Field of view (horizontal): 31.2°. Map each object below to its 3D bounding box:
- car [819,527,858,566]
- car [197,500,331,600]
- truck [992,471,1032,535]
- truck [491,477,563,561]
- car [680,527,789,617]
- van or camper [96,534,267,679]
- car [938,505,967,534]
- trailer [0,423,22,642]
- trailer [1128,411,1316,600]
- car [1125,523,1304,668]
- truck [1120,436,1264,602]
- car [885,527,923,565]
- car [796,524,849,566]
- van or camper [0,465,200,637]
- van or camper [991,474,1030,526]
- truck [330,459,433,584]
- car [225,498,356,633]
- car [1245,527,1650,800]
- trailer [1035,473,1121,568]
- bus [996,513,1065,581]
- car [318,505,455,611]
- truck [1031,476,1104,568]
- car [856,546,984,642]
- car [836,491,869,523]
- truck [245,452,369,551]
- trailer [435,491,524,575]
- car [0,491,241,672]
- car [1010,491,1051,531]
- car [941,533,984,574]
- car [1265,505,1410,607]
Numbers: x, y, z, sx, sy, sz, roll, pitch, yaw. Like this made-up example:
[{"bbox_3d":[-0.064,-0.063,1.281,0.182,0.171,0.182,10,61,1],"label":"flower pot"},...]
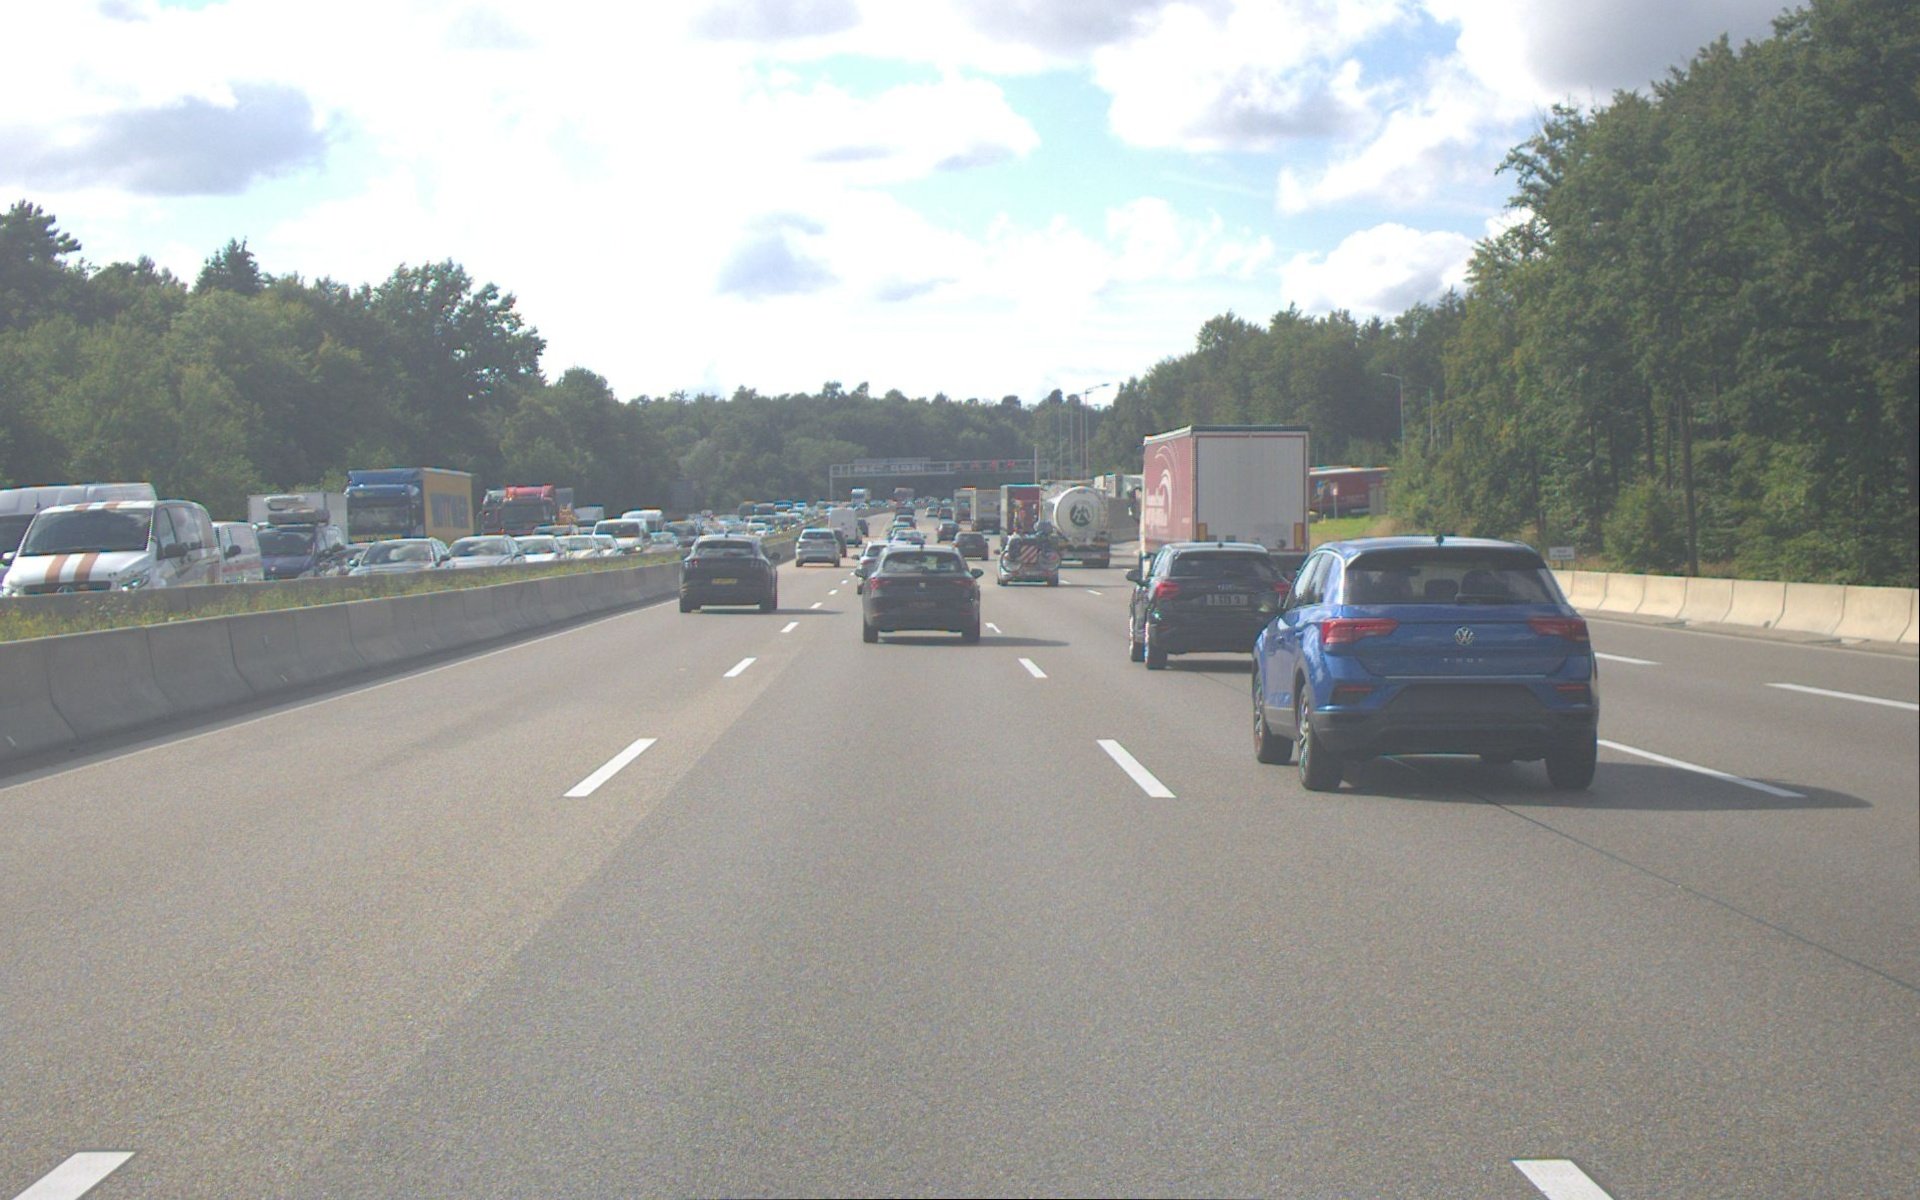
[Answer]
[{"bbox_3d":[-6.492,-2.872,184.163,1.993,2.007,4.000,1,1,-1],"label":"car"},{"bbox_3d":[-14.592,-1.024,72.336,1.993,2.007,4.657,1,0,-2],"label":"car"},{"bbox_3d":[3.154,-5.896,210.900,2.358,3.560,11.266,1,0,0],"label":"truck"},{"bbox_3d":[-20.659,-3.877,164.221,2.775,3.924,6.854,1,1,-2],"label":"truck"},{"bbox_3d":[-4.613,-0.591,70.704,1.993,1.770,4.000,1,1,-1],"label":"car"},{"bbox_3d":[-15.115,0.119,67.053,2.045,2.702,5.751,1,0,-1],"label":"van or camper"},{"bbox_3d":[-0.564,-5.837,249.000,1.993,2.007,4.000,1,1,-1],"label":"car"},{"bbox_3d":[-18.655,-1.230,55.638,2.830,3.961,16.006,1,0,-1],"label":"trailer"},{"bbox_3d":[5.961,-2.026,80.685,3.038,4.021,13.891,1,0,-1],"label":"trailer"},{"bbox_3d":[3.032,-0.081,41.629,1.799,1.639,4.000,1,1,-1],"label":"car"},{"bbox_3d":[5.842,-2.000,87.510,3.080,4.049,6.070,1,0,-1],"label":"truck"},{"bbox_3d":[-3.069,-2.930,187.383,1.993,2.007,4.000,-1,0,-1],"label":"car"},{"bbox_3d":[-5.975,-2.381,149.939,2.154,1.770,4.000,1,1,-1],"label":"car"},{"bbox_3d":[-14.679,-0.783,57.709,2.391,2.702,6.631,1,0,0],"label":"van or camper"},{"bbox_3d":[3.197,-6.309,218.126,2.351,3.133,5.710,1,0,0],"label":"van or camper"},{"bbox_3d":[-19.846,-2.645,118.247,2.735,4.134,5.617,1,0,-2],"label":"truck"},{"bbox_3d":[-15.355,-0.827,79.139,1.993,2.953,5.403,2,1,-1],"label":"car"},{"bbox_3d":[3.025,0.336,22.304,1.924,1.536,4.645,2,1,0],"label":"car"},{"bbox_3d":[5.078,-3.392,150.364,3.036,4.002,12.246,0,1,-1],"label":"trailer"},{"bbox_3d":[2.138,-1.593,105.342,1.993,2.007,4.000,1,0,-1],"label":"bus"},{"bbox_3d":[-11.268,-0.799,67.828,1.993,2.007,4.410,0,0,0],"label":"car"},{"bbox_3d":[4.911,-3.552,158.095,3.045,4.146,7.127,0,1,-1],"label":"truck"},{"bbox_3d":[-0.643,-0.111,51.635,1.734,1.360,4.001,1,1,-3],"label":"car"},{"bbox_3d":[-6.934,-5.969,221.868,1.993,2.007,4.000,1,1,-1],"label":"car"},{"bbox_3d":[-19.650,-2.951,103.881,2.328,2.792,7.950,2,1,-1],"label":"truck"},{"bbox_3d":[-24.928,-3.561,178.950,2.809,4.105,14.043,1,2,-1],"label":"trailer"},{"bbox_3d":[-10.478,-0.217,42.750,1.993,2.093,5.278,1,0,0],"label":"car"},{"bbox_3d":[3.775,-4.787,184.772,1.993,2.007,4.000,1,0,-1],"label":"car"},{"bbox_3d":[0.113,-2.311,172.165,1.993,2.007,4.000,1,1,-1],"label":"car"},{"bbox_3d":[5.863,-0.692,53.756,1.715,1.506,4.302,-1,1,-1],"label":"car"}]
